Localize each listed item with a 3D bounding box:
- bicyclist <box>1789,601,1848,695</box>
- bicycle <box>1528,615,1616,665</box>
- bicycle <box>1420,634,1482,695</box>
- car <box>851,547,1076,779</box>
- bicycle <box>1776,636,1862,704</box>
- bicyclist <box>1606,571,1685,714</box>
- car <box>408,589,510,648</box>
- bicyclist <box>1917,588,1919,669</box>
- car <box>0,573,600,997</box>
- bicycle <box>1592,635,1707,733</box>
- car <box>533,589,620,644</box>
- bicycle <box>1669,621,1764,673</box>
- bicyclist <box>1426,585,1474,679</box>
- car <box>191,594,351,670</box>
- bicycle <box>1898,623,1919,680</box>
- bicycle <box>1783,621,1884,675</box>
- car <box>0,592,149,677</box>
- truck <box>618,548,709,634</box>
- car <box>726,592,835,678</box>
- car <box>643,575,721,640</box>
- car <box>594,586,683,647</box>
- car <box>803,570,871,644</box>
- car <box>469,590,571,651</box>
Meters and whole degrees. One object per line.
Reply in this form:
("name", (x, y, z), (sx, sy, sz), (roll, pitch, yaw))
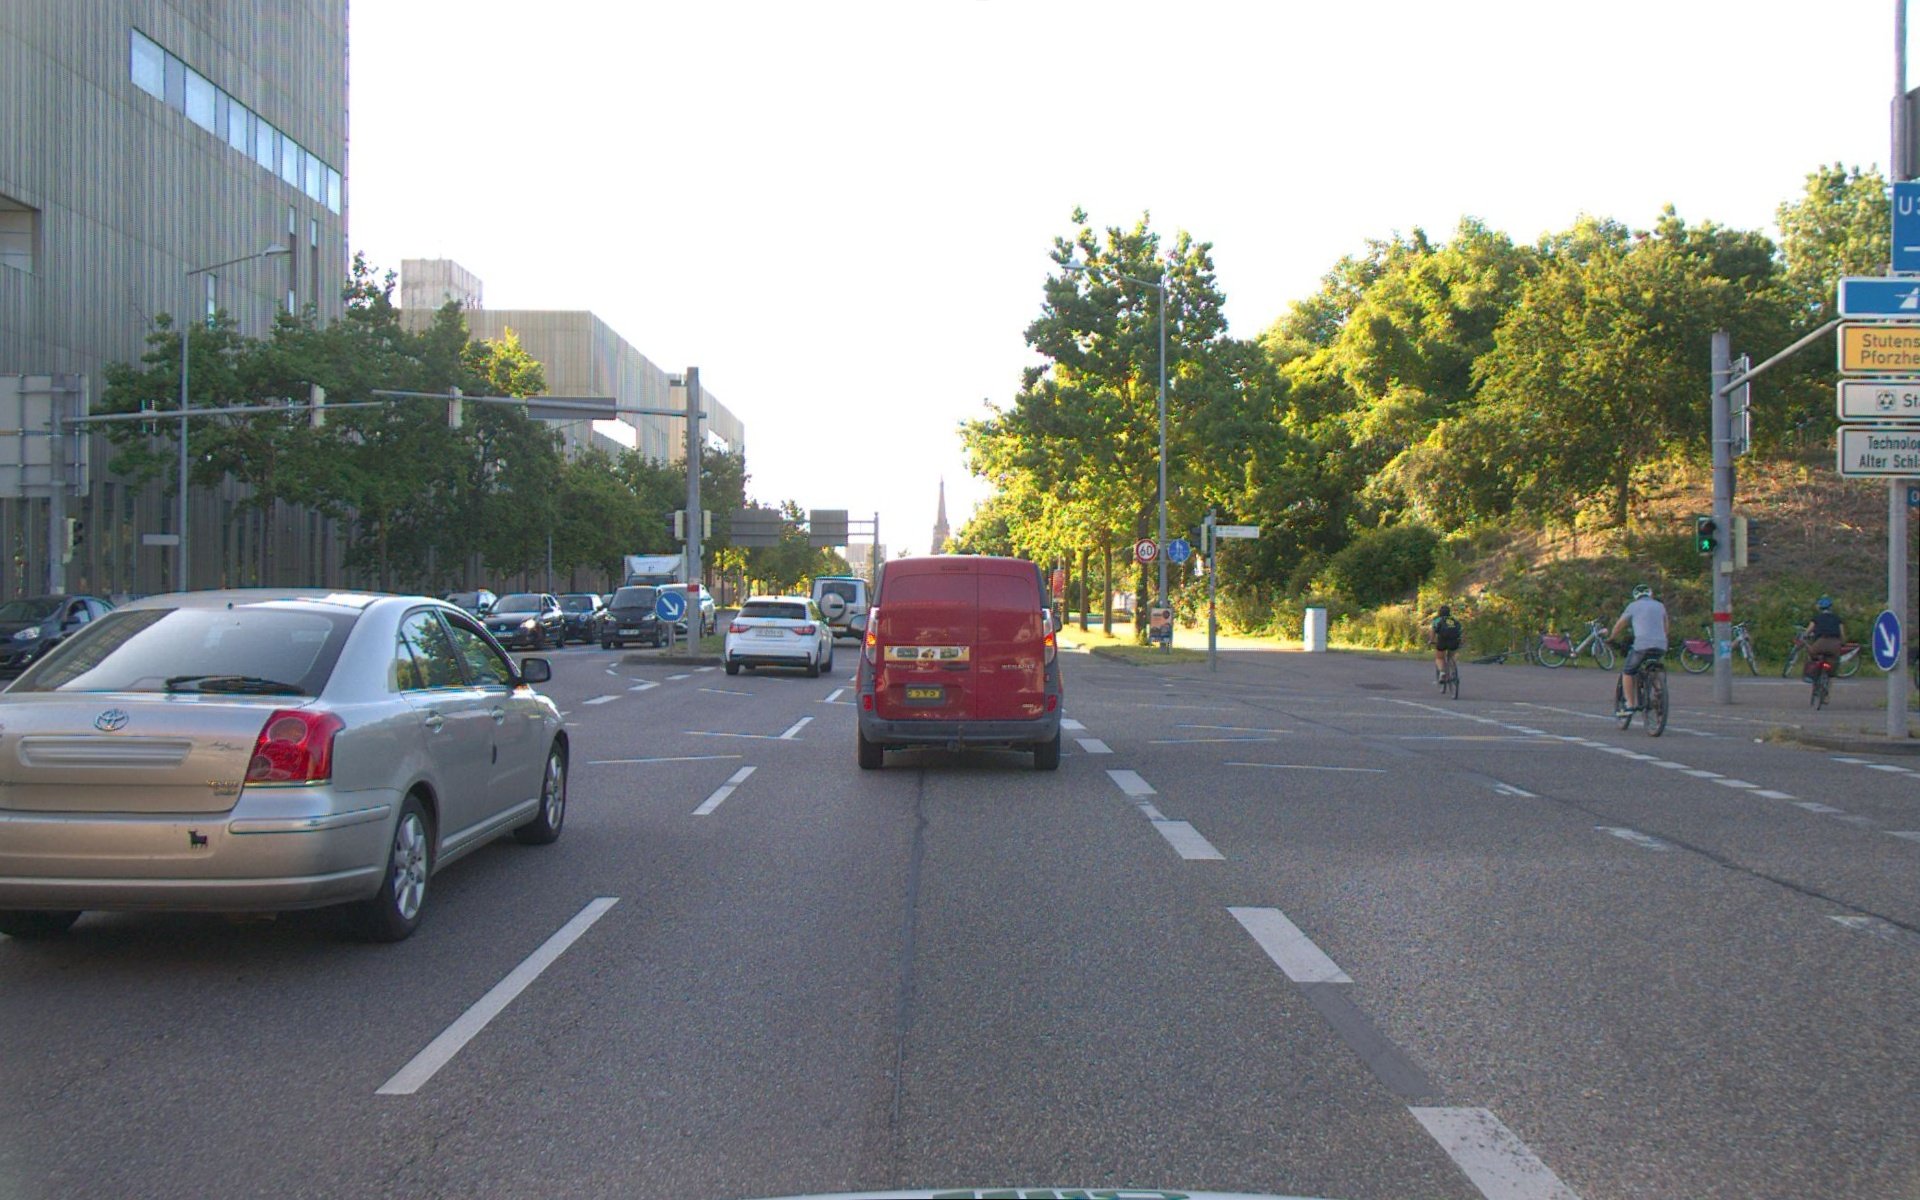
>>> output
("bicyclist", (14.008, 0.779, 26.995), (0.650, 1.500, 0.751), (1, -2, 10))
("bicycle", (13.331, 0.875, 36.053), (1.707, 1.041, 0.594), (1, -2, 7))
("bicycle", (8.786, 1.148, 29.642), (0.579, 1.041, 1.750), (1, -2, 0))
("car", (0.007, 0.470, 15.282), (1.768, 1.825, 4.000), (1, 1, -1))
("bicycle", (14.010, 1.133, 27.015), (0.657, 1.041, 2.057), (1, -2, 10))
("bicyclist", (7.810, 0.483, 18.867), (0.579, 1.576, 0.769), (1, -2, 0))
("car", (-14.342, 0.529, 47.601), (1.613, 1.572, 4.397), (-2, -1, -1))
("bicyclist", (18.201, 0.528, 30.591), (0.609, 1.507, 0.645), (1, 0, -27))
("car", (-3.082, 0.678, 8.076), (1.698, 1.506, 4.318), (1, -1, 0))
("bicycle", (7.828, 0.936, 18.845), (0.579, 1.041, 1.750), (1, -2, 0))
("car", (-11.190, 0.483, 48.478), (1.603, 1.469, 4.076), (-2, -1, -1))
("bicycle", (15.862, 0.995, 34.719), (1.707, 1.041, 0.594), (1, -2, 7))
("bicyclist", (8.784, 0.573, 29.658), (0.579, 1.642, 0.942), (1, -2, 0))
("car", (-14.147, 0.643, 34.203), (1.613, 1.429, 3.977), (-2, -1, 0))
("bicycle", (18.224, 0.929, 30.605), (1.724, 1.041, 0.663), (-1, -2, -27))
("bicycle", (17.726, 0.970, 33.603), (1.707, 1.041, 0.594), (1, -2, 12))
("car", (-17.374, 0.647, 31.751), (1.613, 1.508, 3.977), (-2, -1, 0))
("truck", (-11.417, -0.306, 64.160), (2.360, 3.080, 6.654), (-2, -1, -1))
("car", (-3.285, 0.620, 30.792), (1.777, 1.463, 3.729), (1, 0, -3))
("car", (-8.397, 0.229, 50.236), (1.721, 1.828, 4.082), (-2, -1, -1))
("car", (-8.291, 0.433, 42.930), (1.603, 1.469, 3.718), (-2, -1, -1))
("car", (-3.580, 0.255, 48.644), (1.765, 2.024, 4.586), (1, -2, -2))
("car", (-11.383, 0.532, 43.059), (1.603, 1.469, 4.075), (-2, -1, -1))
